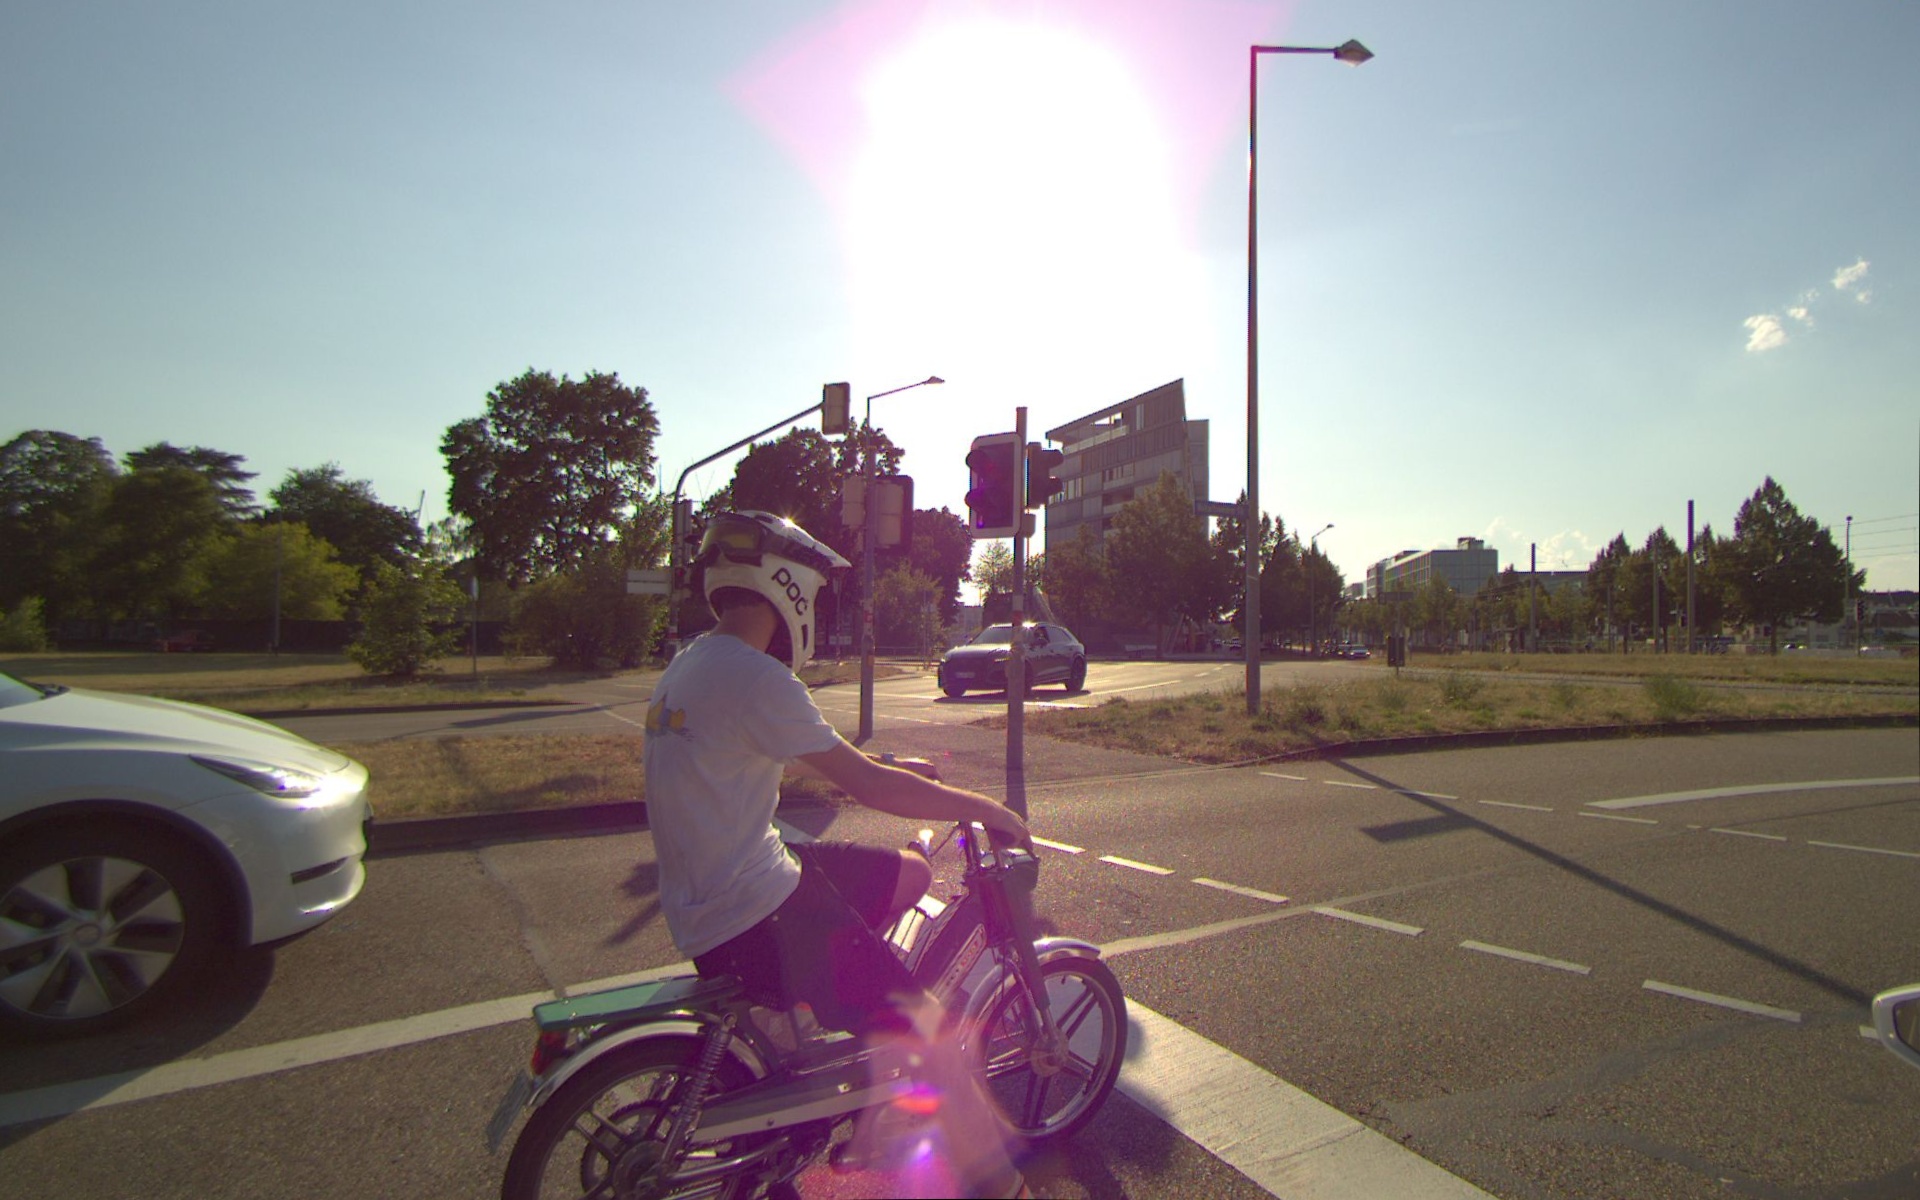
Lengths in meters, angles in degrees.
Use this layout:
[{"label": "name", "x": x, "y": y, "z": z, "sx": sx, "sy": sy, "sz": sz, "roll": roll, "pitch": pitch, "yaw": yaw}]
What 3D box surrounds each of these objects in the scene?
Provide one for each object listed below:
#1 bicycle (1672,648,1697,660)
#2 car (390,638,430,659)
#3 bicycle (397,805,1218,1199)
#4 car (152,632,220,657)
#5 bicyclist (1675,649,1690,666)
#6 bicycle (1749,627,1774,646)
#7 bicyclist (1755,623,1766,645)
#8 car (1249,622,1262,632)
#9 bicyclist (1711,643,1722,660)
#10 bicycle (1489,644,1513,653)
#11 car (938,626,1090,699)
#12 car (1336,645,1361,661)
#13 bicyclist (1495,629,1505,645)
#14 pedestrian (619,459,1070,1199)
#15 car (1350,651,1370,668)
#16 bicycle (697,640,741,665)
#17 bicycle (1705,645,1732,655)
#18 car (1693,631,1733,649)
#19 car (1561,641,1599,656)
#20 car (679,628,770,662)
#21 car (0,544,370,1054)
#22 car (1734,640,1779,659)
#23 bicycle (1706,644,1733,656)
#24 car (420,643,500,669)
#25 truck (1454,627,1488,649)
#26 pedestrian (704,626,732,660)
[{"label": "bicycle", "x": 58.304, "y": 4.339, "z": 80.852, "sx": 1.592, "sy": 0.871, "sz": 0.543, "roll": -1, "pitch": -2, "yaw": 35}, {"label": "car", "x": -33.248, "y": 2.939, "z": 60.706, "sx": 2.046, "sy": 1.252, "sz": 0.768, "roll": 0, "pitch": -2, "yaw": 9}, {"label": "bicycle", "x": -0.245, "y": 1.032, "z": 2.320, "sx": 1.834, "sy": 0.887, "sz": 0.475, "roll": 1, "pitch": -2, "yaw": -31}, {"label": "car", "x": -49.554, "y": 2.853, "z": 64.295, "sx": 3.308, "sy": 1.567, "sz": 1.584, "roll": 0, "pitch": -2, "yaw": 9}, {"label": "bicyclist", "x": 58.218, "y": 4.626, "z": 80.957, "sx": 0.941, "sy": 1.375, "sz": 0.691, "roll": -1, "pitch": -2, "yaw": 34}, {"label": "bicycle", "x": 62.402, "y": 2.837, "z": 78.211, "sx": 1.518, "sy": 1.493, "sz": 0.478, "roll": -1, "pitch": -2, "yaw": 34}, {"label": "bicyclist", "x": 62.353, "y": 2.628, "z": 78.263, "sx": 0.598, "sy": 1.694, "sz": 0.476, "roll": 0, "pitch": -2, "yaw": 34}, {"label": "car", "x": 46.986, "y": 4.284, "z": 159.822, "sx": 1.753, "sy": 1.576, "sz": 4.002, "roll": 2, "pitch": 0, "yaw": 14}, {"label": "bicyclist", "x": 60.178, "y": 4.092, "z": 79.921, "sx": 0.644, "sy": 1.343, "sz": 0.516, "roll": -1, "pitch": -2, "yaw": 39}, {"label": "bicycle", "x": 45.302, "y": 4.048, "z": 84.133, "sx": 1.687, "sy": 0.754, "sz": 0.481, "roll": 0, "pitch": -2, "yaw": 14}, {"label": "car", "x": 1.385, "y": 1.412, "z": 23.563, "sx": 1.624, "sy": 1.532, "sz": 4.635, "roll": -2, "pitch": -3, "yaw": 30}, {"label": "car", "x": 38.508, "y": 5.223, "z": 99.579, "sx": 1.960, "sy": 1.495, "sz": 4.002, "roll": 0, "pitch": -2, "yaw": 17}, {"label": "bicyclist", "x": 45.269, "y": 3.121, "z": 84.176, "sx": 0.641, "sy": 1.343, "sz": 0.519, "roll": 0, "pitch": -1, "yaw": 14}, {"label": "pedestrian", "x": -0.278, "y": 0.527, "z": 2.319, "sx": 0.844, "sy": 1.539, "sz": 0.653, "roll": 1, "pitch": -2, "yaw": -30}, {"label": "car", "x": 36.589, "y": 5.441, "z": 91.933, "sx": 1.455, "sy": 1.495, "sz": 3.301, "roll": 0, "pitch": -2, "yaw": 17}, {"label": "bicycle", "x": -10.994, "y": 2.380, "z": 45.745, "sx": 0.725, "sy": 1.111, "sz": 2.565, "roll": 2, "pitch": -2, "yaw": -45}, {"label": "bicycle", "x": 60.255, "y": 3.992, "z": 79.816, "sx": 1.696, "sy": 0.754, "sz": 0.478, "roll": -1, "pitch": -2, "yaw": 40}, {"label": "car", "x": 89.342, "y": 4.707, "z": 119.205, "sx": 1.960, "sy": 2.040, "sz": 4.002, "roll": 0, "pitch": -2, "yaw": 5}, {"label": "car", "x": 52.252, "y": 4.068, "z": 84.654, "sx": 2.626, "sy": 1.278, "sz": 1.112, "roll": -1, "pitch": -2, "yaw": 29}, {"label": "car", "x": -11.871, "y": 2.259, "z": 50.796, "sx": 4.115, "sy": 1.695, "sz": 1.777, "roll": 0, "pitch": -2, "yaw": 14}, {"label": "car", "x": -4.602, "y": 0.601, "z": 3.150, "sx": 4.630, "sy": 1.620, "sz": 1.724, "roll": 2, "pitch": -1, "yaw": -35}, {"label": "car", "x": 88.028, "y": 5.441, "z": 111.044, "sx": 1.960, "sy": 2.040, "sz": 4.002, "roll": 0, "pitch": -2, "yaw": 5}, {"label": "bicycle", "x": 58.881, "y": 3.882, "z": 77.882, "sx": 1.592, "sy": 0.871, "sz": 0.543, "roll": -1, "pitch": -2, "yaw": 35}, {"label": "car", "x": -31.438, "y": 3.516, "z": 63.209, "sx": 4.312, "sy": 1.545, "sz": 1.658, "roll": 0, "pitch": -2, "yaw": 7}, {"label": "truck", "x": 78.156, "y": 5.778, "z": 153.732, "sx": 3.074, "sy": 3.273, "sz": 7.178, "roll": 0, "pitch": -2, "yaw": 14}, {"label": "pedestrian", "x": -11.024, "y": 1.971, "z": 45.801, "sx": 1.132, "sy": 1.527, "sz": 0.757, "roll": -1, "pitch": -2, "yaw": 44}]
